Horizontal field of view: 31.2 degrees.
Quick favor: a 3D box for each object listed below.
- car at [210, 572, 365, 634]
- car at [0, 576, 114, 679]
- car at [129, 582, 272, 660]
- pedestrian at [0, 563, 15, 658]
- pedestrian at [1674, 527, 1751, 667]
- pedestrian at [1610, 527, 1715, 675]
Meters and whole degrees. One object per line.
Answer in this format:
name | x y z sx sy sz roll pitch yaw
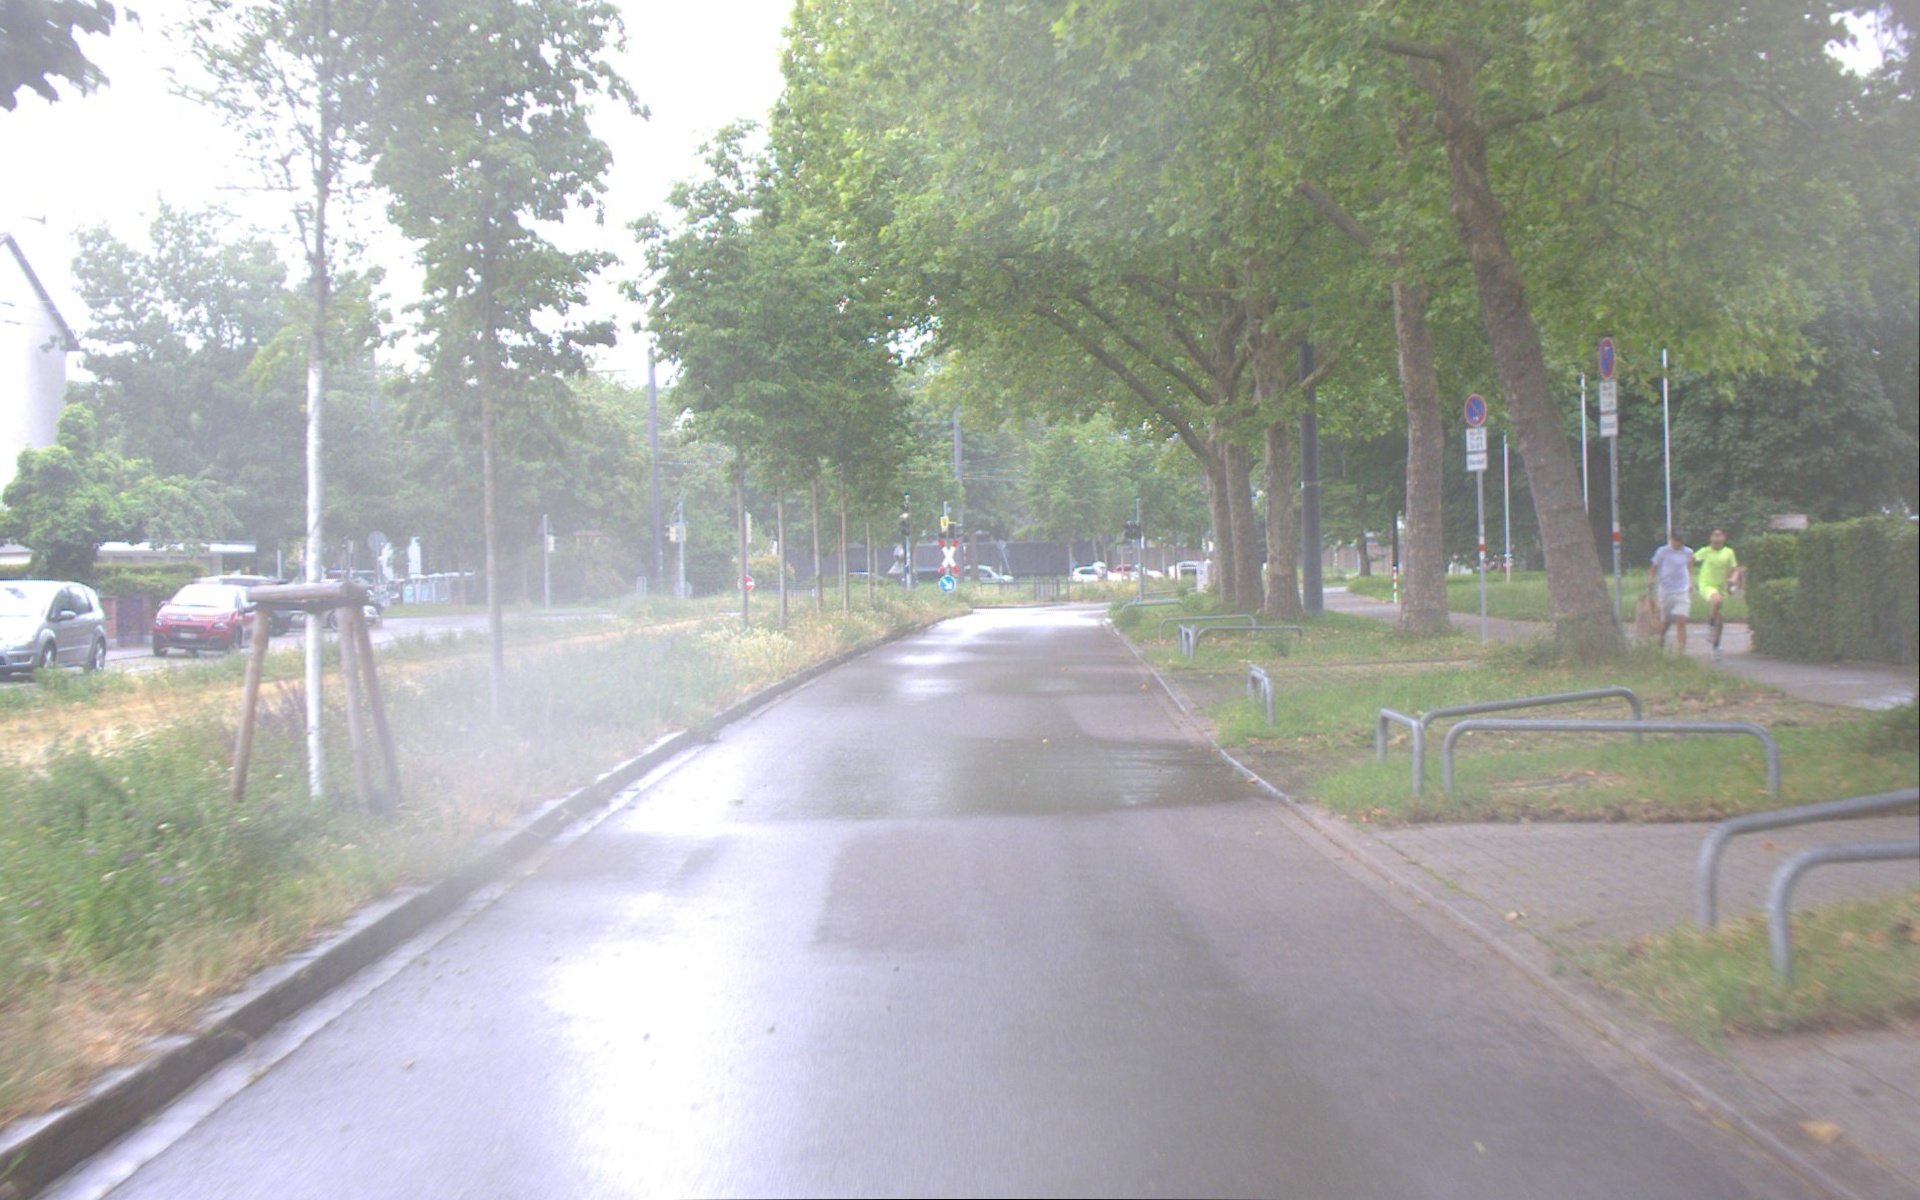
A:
car | -19.193 0.073 98.208 3.987 1.611 2.000 -2 1 -1
car | -15.722 0.426 57.520 1.993 1.575 4.517 0 1 1
car | -15.704 0.411 71.241 1.993 1.483 4.205 0 1 1
pedestrian | -18.070 0.198 63.910 0.702 1.749 0.854 -2 0 1
pedestrian | 8.444 -0.034 38.598 0.556 1.533 0.967 -2 1 -4
pedestrian | 7.520 0.007 36.818 0.833 1.533 0.860 -3 1 -4
